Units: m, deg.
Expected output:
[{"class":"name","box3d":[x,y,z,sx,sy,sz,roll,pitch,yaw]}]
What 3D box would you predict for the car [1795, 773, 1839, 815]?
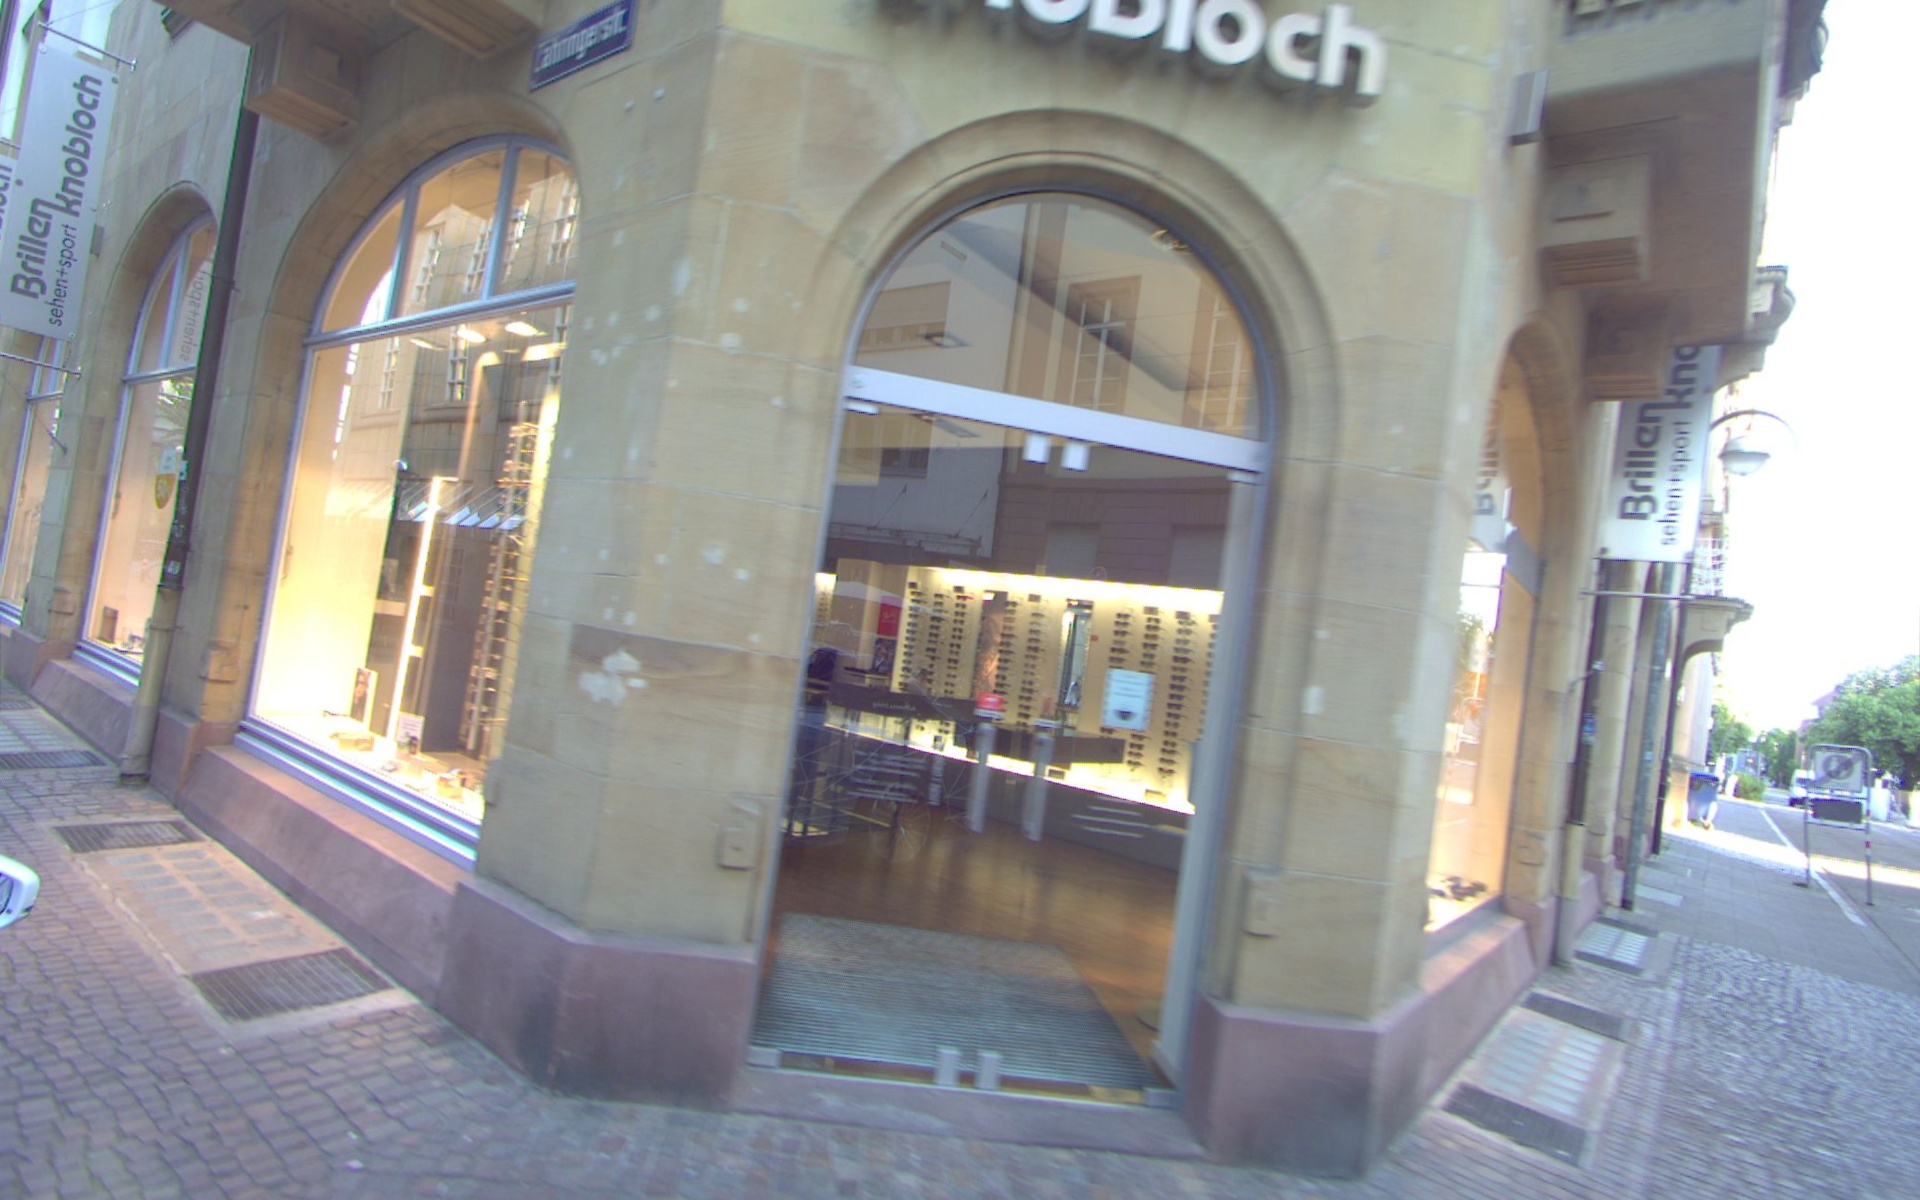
[{"class":"car","box3d":[56.227,12.699,65.990,1.914,2.330,3.985,7,-3,42]}]
